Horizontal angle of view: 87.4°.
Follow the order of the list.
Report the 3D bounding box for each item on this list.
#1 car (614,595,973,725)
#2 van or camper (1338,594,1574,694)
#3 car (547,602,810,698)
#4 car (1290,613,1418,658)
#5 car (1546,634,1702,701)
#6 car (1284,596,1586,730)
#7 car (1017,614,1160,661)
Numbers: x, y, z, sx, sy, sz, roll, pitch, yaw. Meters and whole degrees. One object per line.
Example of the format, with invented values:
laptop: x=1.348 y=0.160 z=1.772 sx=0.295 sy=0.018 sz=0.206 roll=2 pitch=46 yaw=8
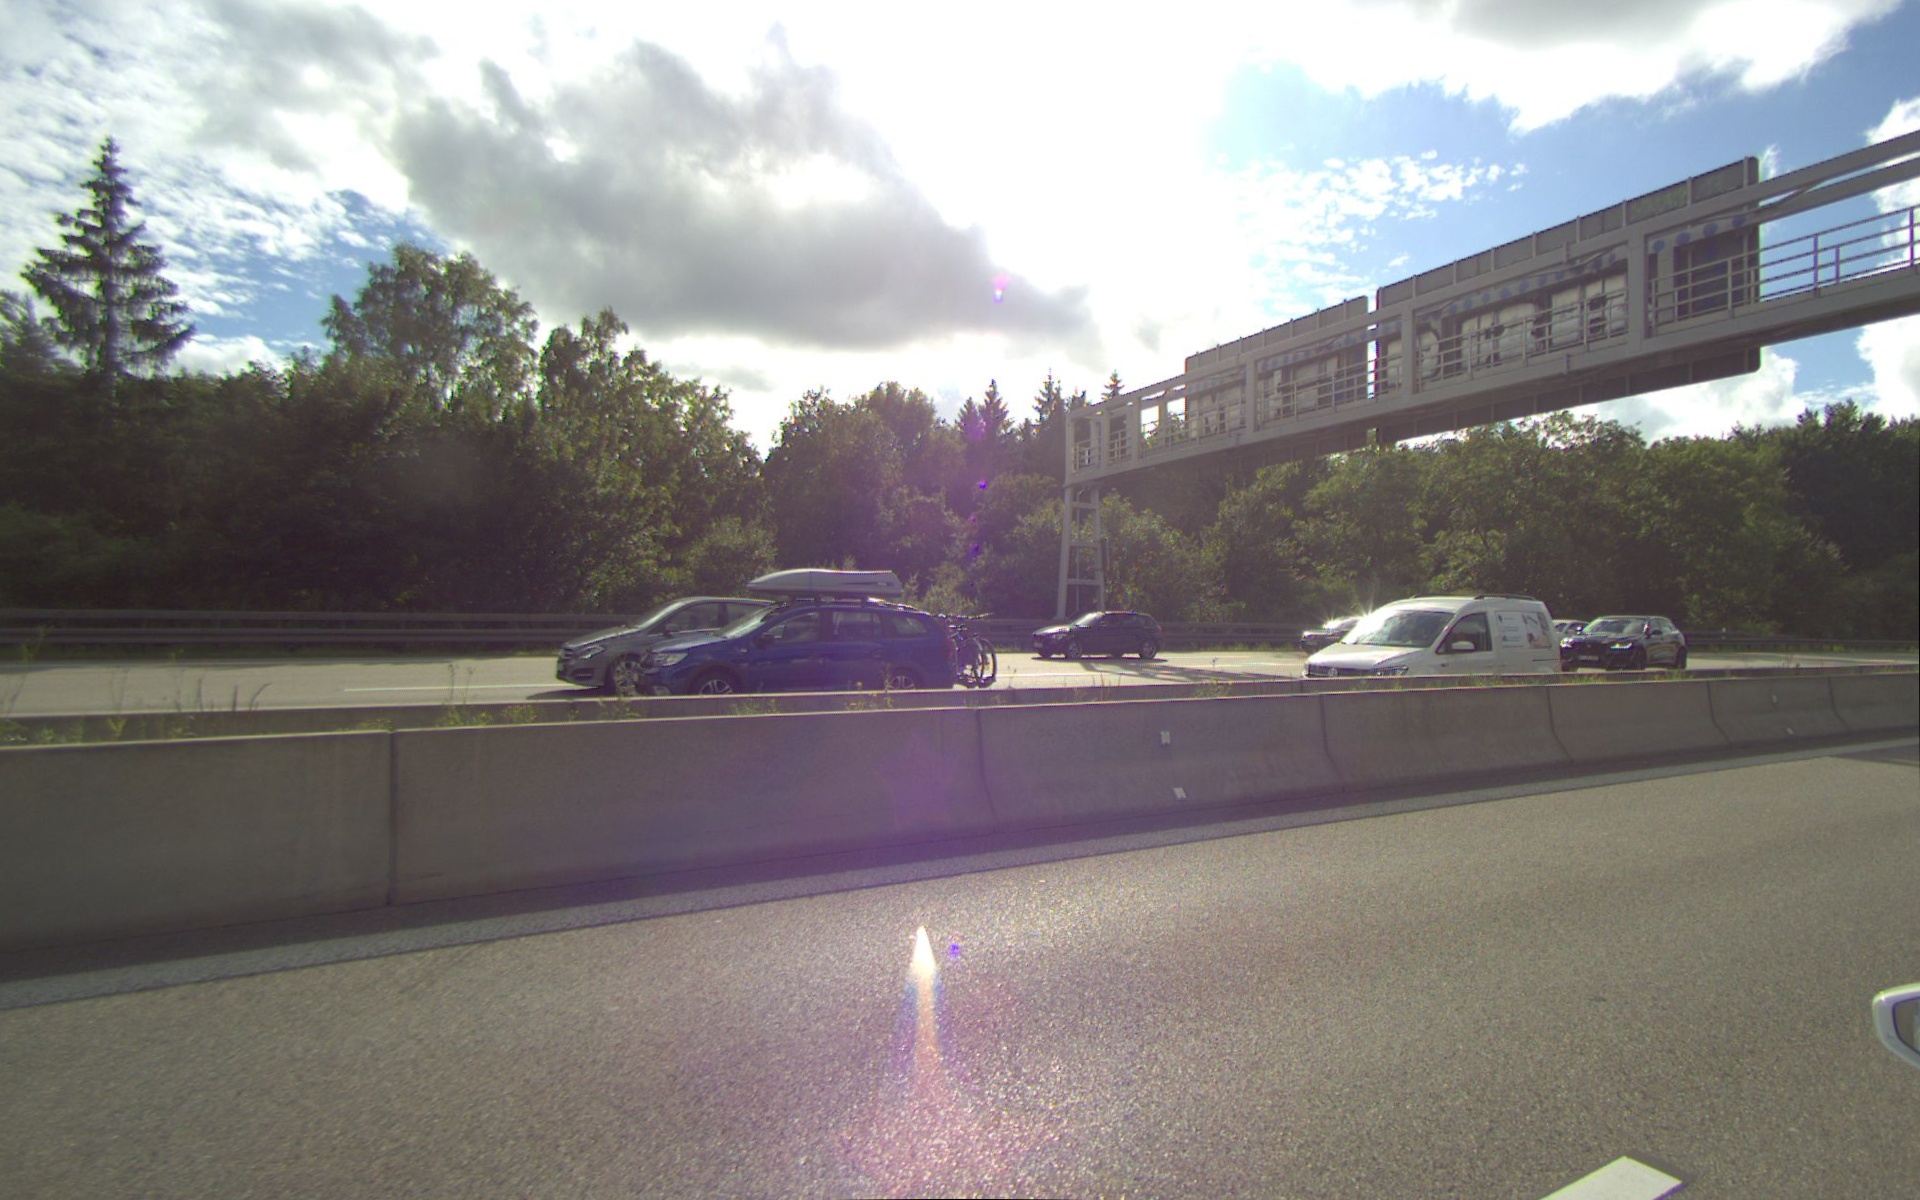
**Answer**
car: x=-2.231 y=0.766 z=13.960 sx=4.629 sy=1.548 sz=1.690 roll=1 pitch=0 yaw=-30
van or camper: x=10.394 y=0.870 z=20.935 sx=5.093 sy=1.875 sz=1.854 roll=1 pitch=0 yaw=-29
car: x=-4.683 y=0.795 z=16.879 sx=3.955 sy=1.435 sz=1.629 roll=1 pitch=0 yaw=-32
car: x=13.877 y=1.231 z=35.277 sx=4.653 sy=1.460 sz=1.693 roll=1 pitch=0 yaw=-31
car: x=18.284 y=1.801 z=27.620 sx=4.442 sy=1.651 sz=1.691 roll=1 pitch=0 yaw=-28
car: x=6.922 y=0.832 z=14.520 sx=4.467 sy=1.671 sz=1.760 roll=1 pitch=0 yaw=-31
car: x=3.886 y=1.123 z=30.208 sx=4.135 sy=1.305 sz=1.693 roll=1 pitch=0 yaw=-31
